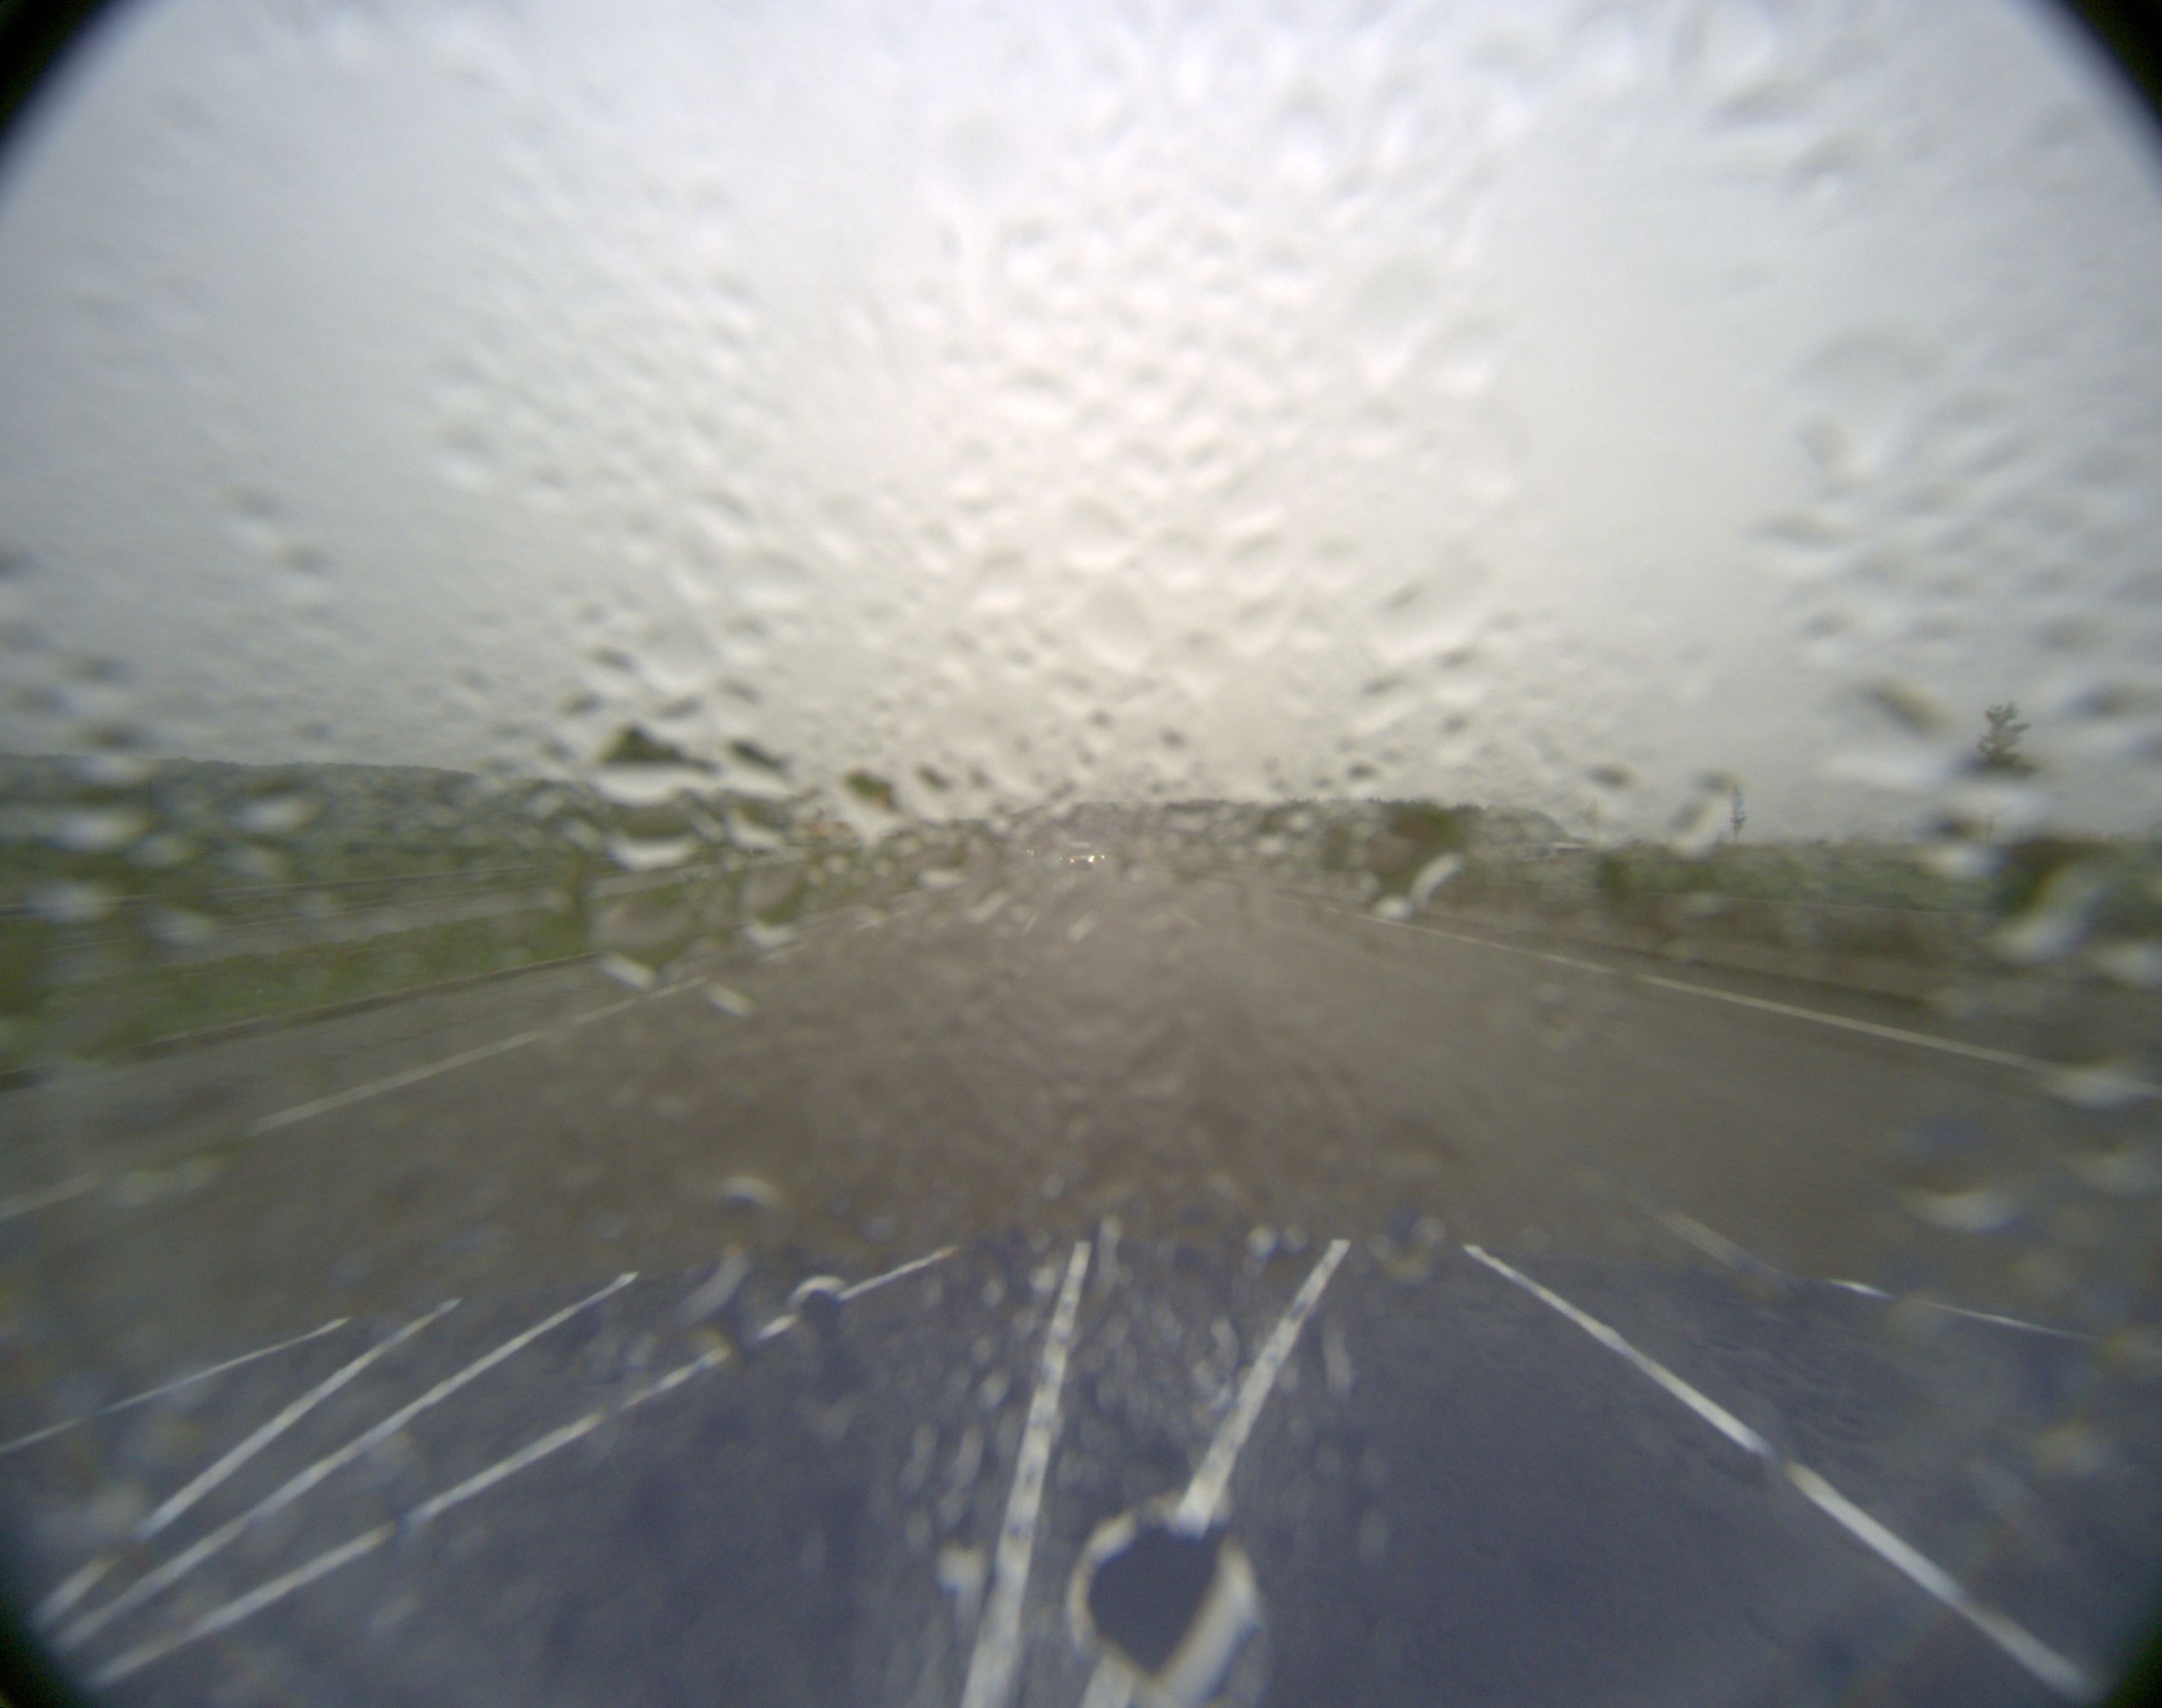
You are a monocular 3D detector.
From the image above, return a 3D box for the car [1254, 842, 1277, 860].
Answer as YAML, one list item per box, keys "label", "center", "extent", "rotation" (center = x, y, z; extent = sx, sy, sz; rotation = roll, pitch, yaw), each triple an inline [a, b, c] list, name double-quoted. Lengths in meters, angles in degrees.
- label: "car"
  center: [18.671, -0.301, 77.165]
  extent: [1.499, 1.717, 3.172]
  rotation: [-2, 1, -1]

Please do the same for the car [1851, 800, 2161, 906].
- label: "car"
  center: [15.256, -0.041, 12.491]
  extent: [1.323, 1.472, 3.827]
  rotation: [-2, 0, 0]

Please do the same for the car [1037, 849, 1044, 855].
- label: "car"
  center: [-11.113, -0.658, 208.380]
  extent: [1.999, 1.543, 3.999]
  rotation: [-2, 0, -3]

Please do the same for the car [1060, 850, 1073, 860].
- label: "car"
  center: [-2.279, 0.157, 121.855]
  extent: [1.999, 1.521, 3.999]
  rotation: [-1, 0, -1]

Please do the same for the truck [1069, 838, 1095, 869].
- label: "truck"
  center: [0.149, -0.132, 71.042]
  extent: [1.998, 2.699, 7.999]
  rotation: [-2, 1, 2]

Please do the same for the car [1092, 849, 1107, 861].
- label: "car"
  center: [2.672, 0.099, 109.905]
  extent: [1.998, 1.608, 4.000]
  rotation: [-1, 0, 1]
